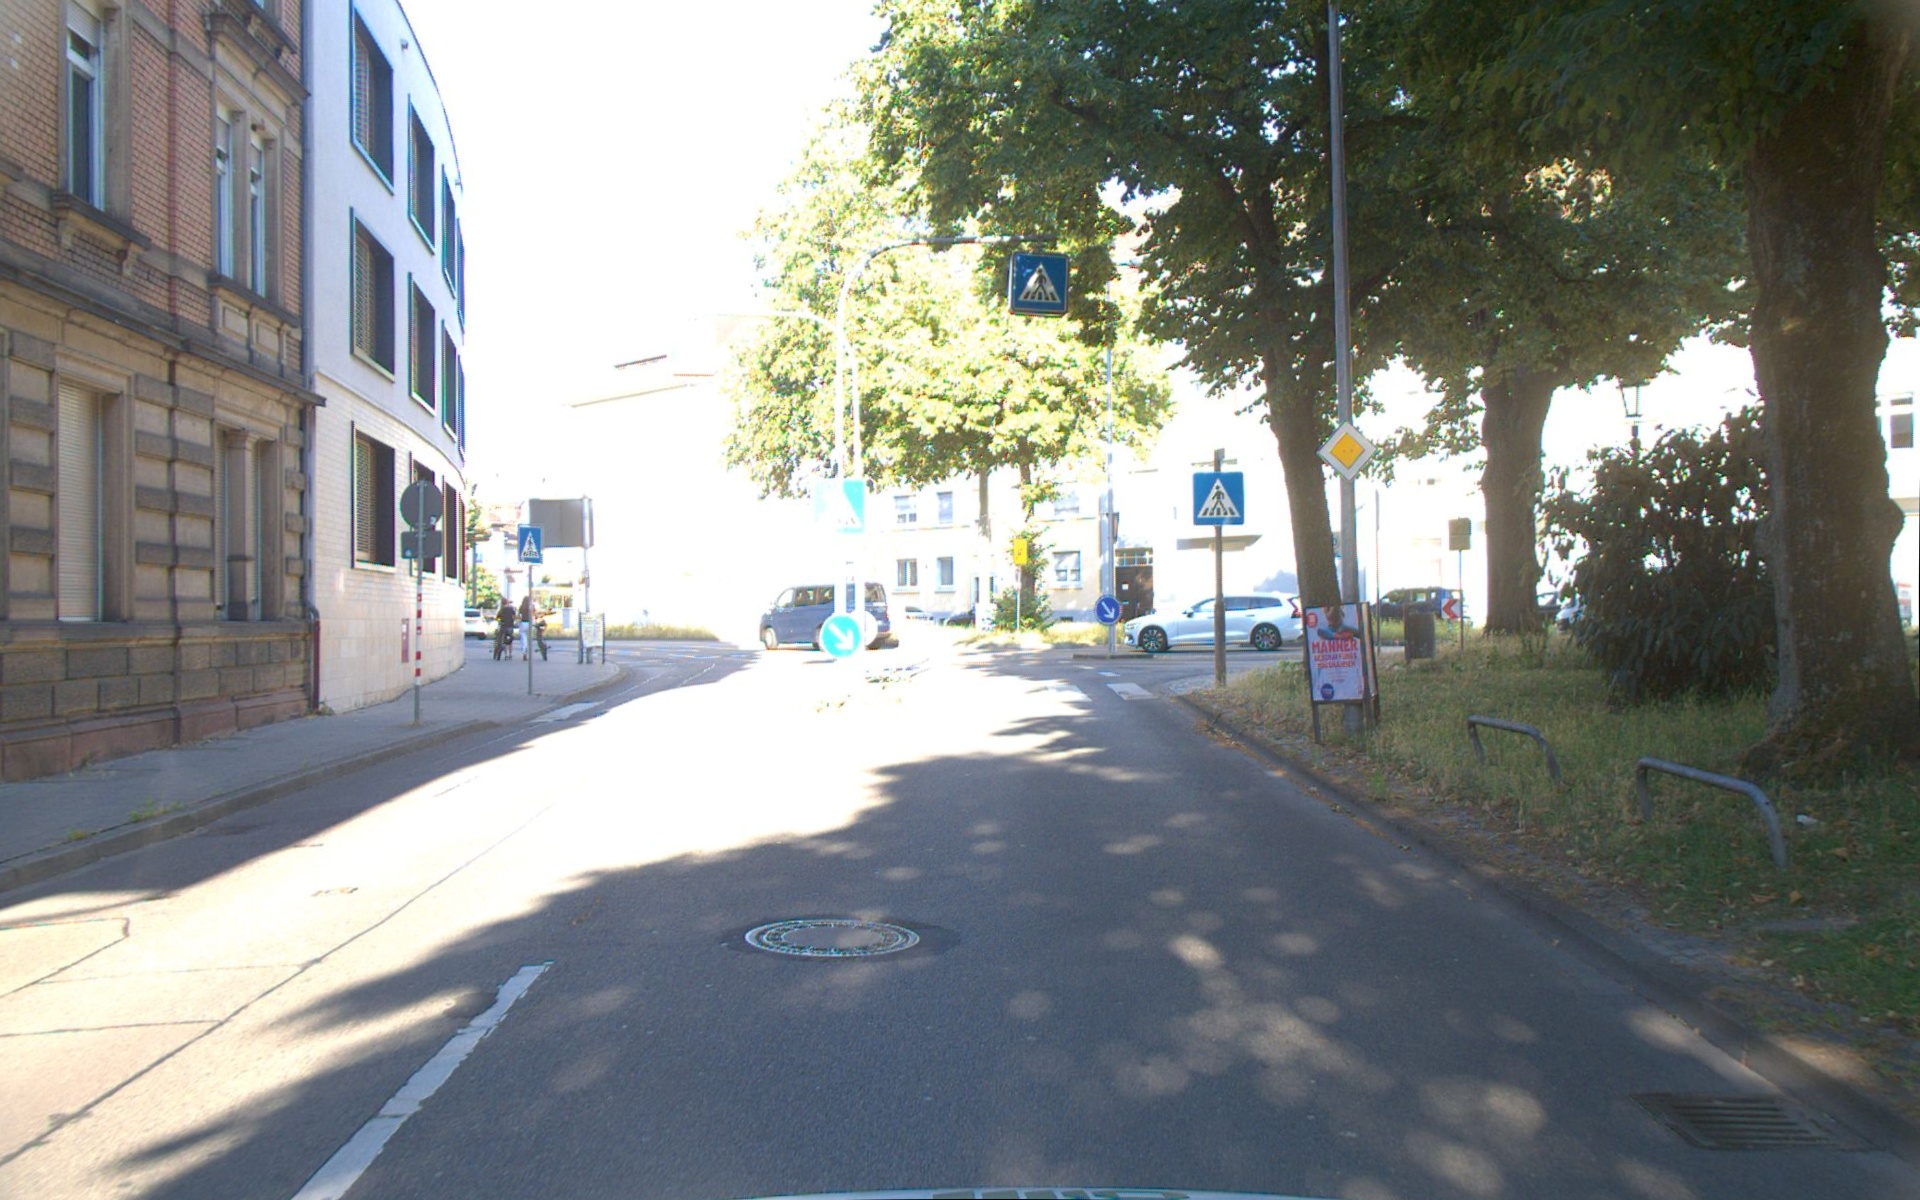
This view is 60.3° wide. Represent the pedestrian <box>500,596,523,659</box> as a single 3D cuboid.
[{"bbox_3d":[-11.669,0.710,43.052,0.467,1.592,0.598,-3,0,-21],"label":"pedestrian"}]

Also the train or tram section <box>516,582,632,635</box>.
[{"bbox_3d":[-27.287,0.616,117.492,2.719,3.618,9.917,-1,-1,23],"label":"train or tram section"}]

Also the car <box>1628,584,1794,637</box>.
[{"bbox_3d":[21.998,0.287,48.538,4.027,1.478,1.987,0,0,44],"label":"car"}]

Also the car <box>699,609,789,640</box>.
[{"bbox_3d":[-10.608,1.187,81.045,4.364,1.410,1.989,0,0,41],"label":"car"}]

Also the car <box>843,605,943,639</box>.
[{"bbox_3d":[-2.987,0.962,73.424,4.370,1.410,1.987,0,0,44],"label":"car"}]

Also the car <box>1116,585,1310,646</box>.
[{"bbox_3d":[6.451,0.399,42.138,4.656,1.489,1.856,-1,0,17],"label":"car"}]

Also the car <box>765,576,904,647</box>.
[{"bbox_3d":[-3.767,0.352,49.434,3.926,2.049,1.989,0,-1,40],"label":"car"}]

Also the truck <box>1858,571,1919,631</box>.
[{"bbox_3d":[26.554,0.008,44.325,4.027,1.613,1.987,0,0,44],"label":"truck"}]

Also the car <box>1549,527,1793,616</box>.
[{"bbox_3d":[16.021,-0.607,37.345,4.799,1.886,1.995,-1,0,33],"label":"car"}]

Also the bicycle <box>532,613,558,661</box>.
[{"bbox_3d":[-10.819,0.958,43.067,0.434,1.199,1.954,0,0,-21],"label":"bicycle"}]

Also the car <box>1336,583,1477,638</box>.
[{"bbox_3d":[14.949,0.344,55.496,4.137,1.779,1.987,0,0,44],"label":"car"}]

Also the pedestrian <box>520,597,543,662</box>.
[{"bbox_3d":[-11.143,0.760,43.009,0.467,1.676,0.599,-1,0,-21],"label":"pedestrian"}]

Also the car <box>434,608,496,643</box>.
[{"bbox_3d":[-23.245,1.184,77.560,1.939,1.531,3.646,-2,0,-31],"label":"car"}]

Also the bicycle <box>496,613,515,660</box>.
[{"bbox_3d":[-11.866,0.944,43.152,0.370,1.187,1.827,-1,0,-19],"label":"bicycle"}]
